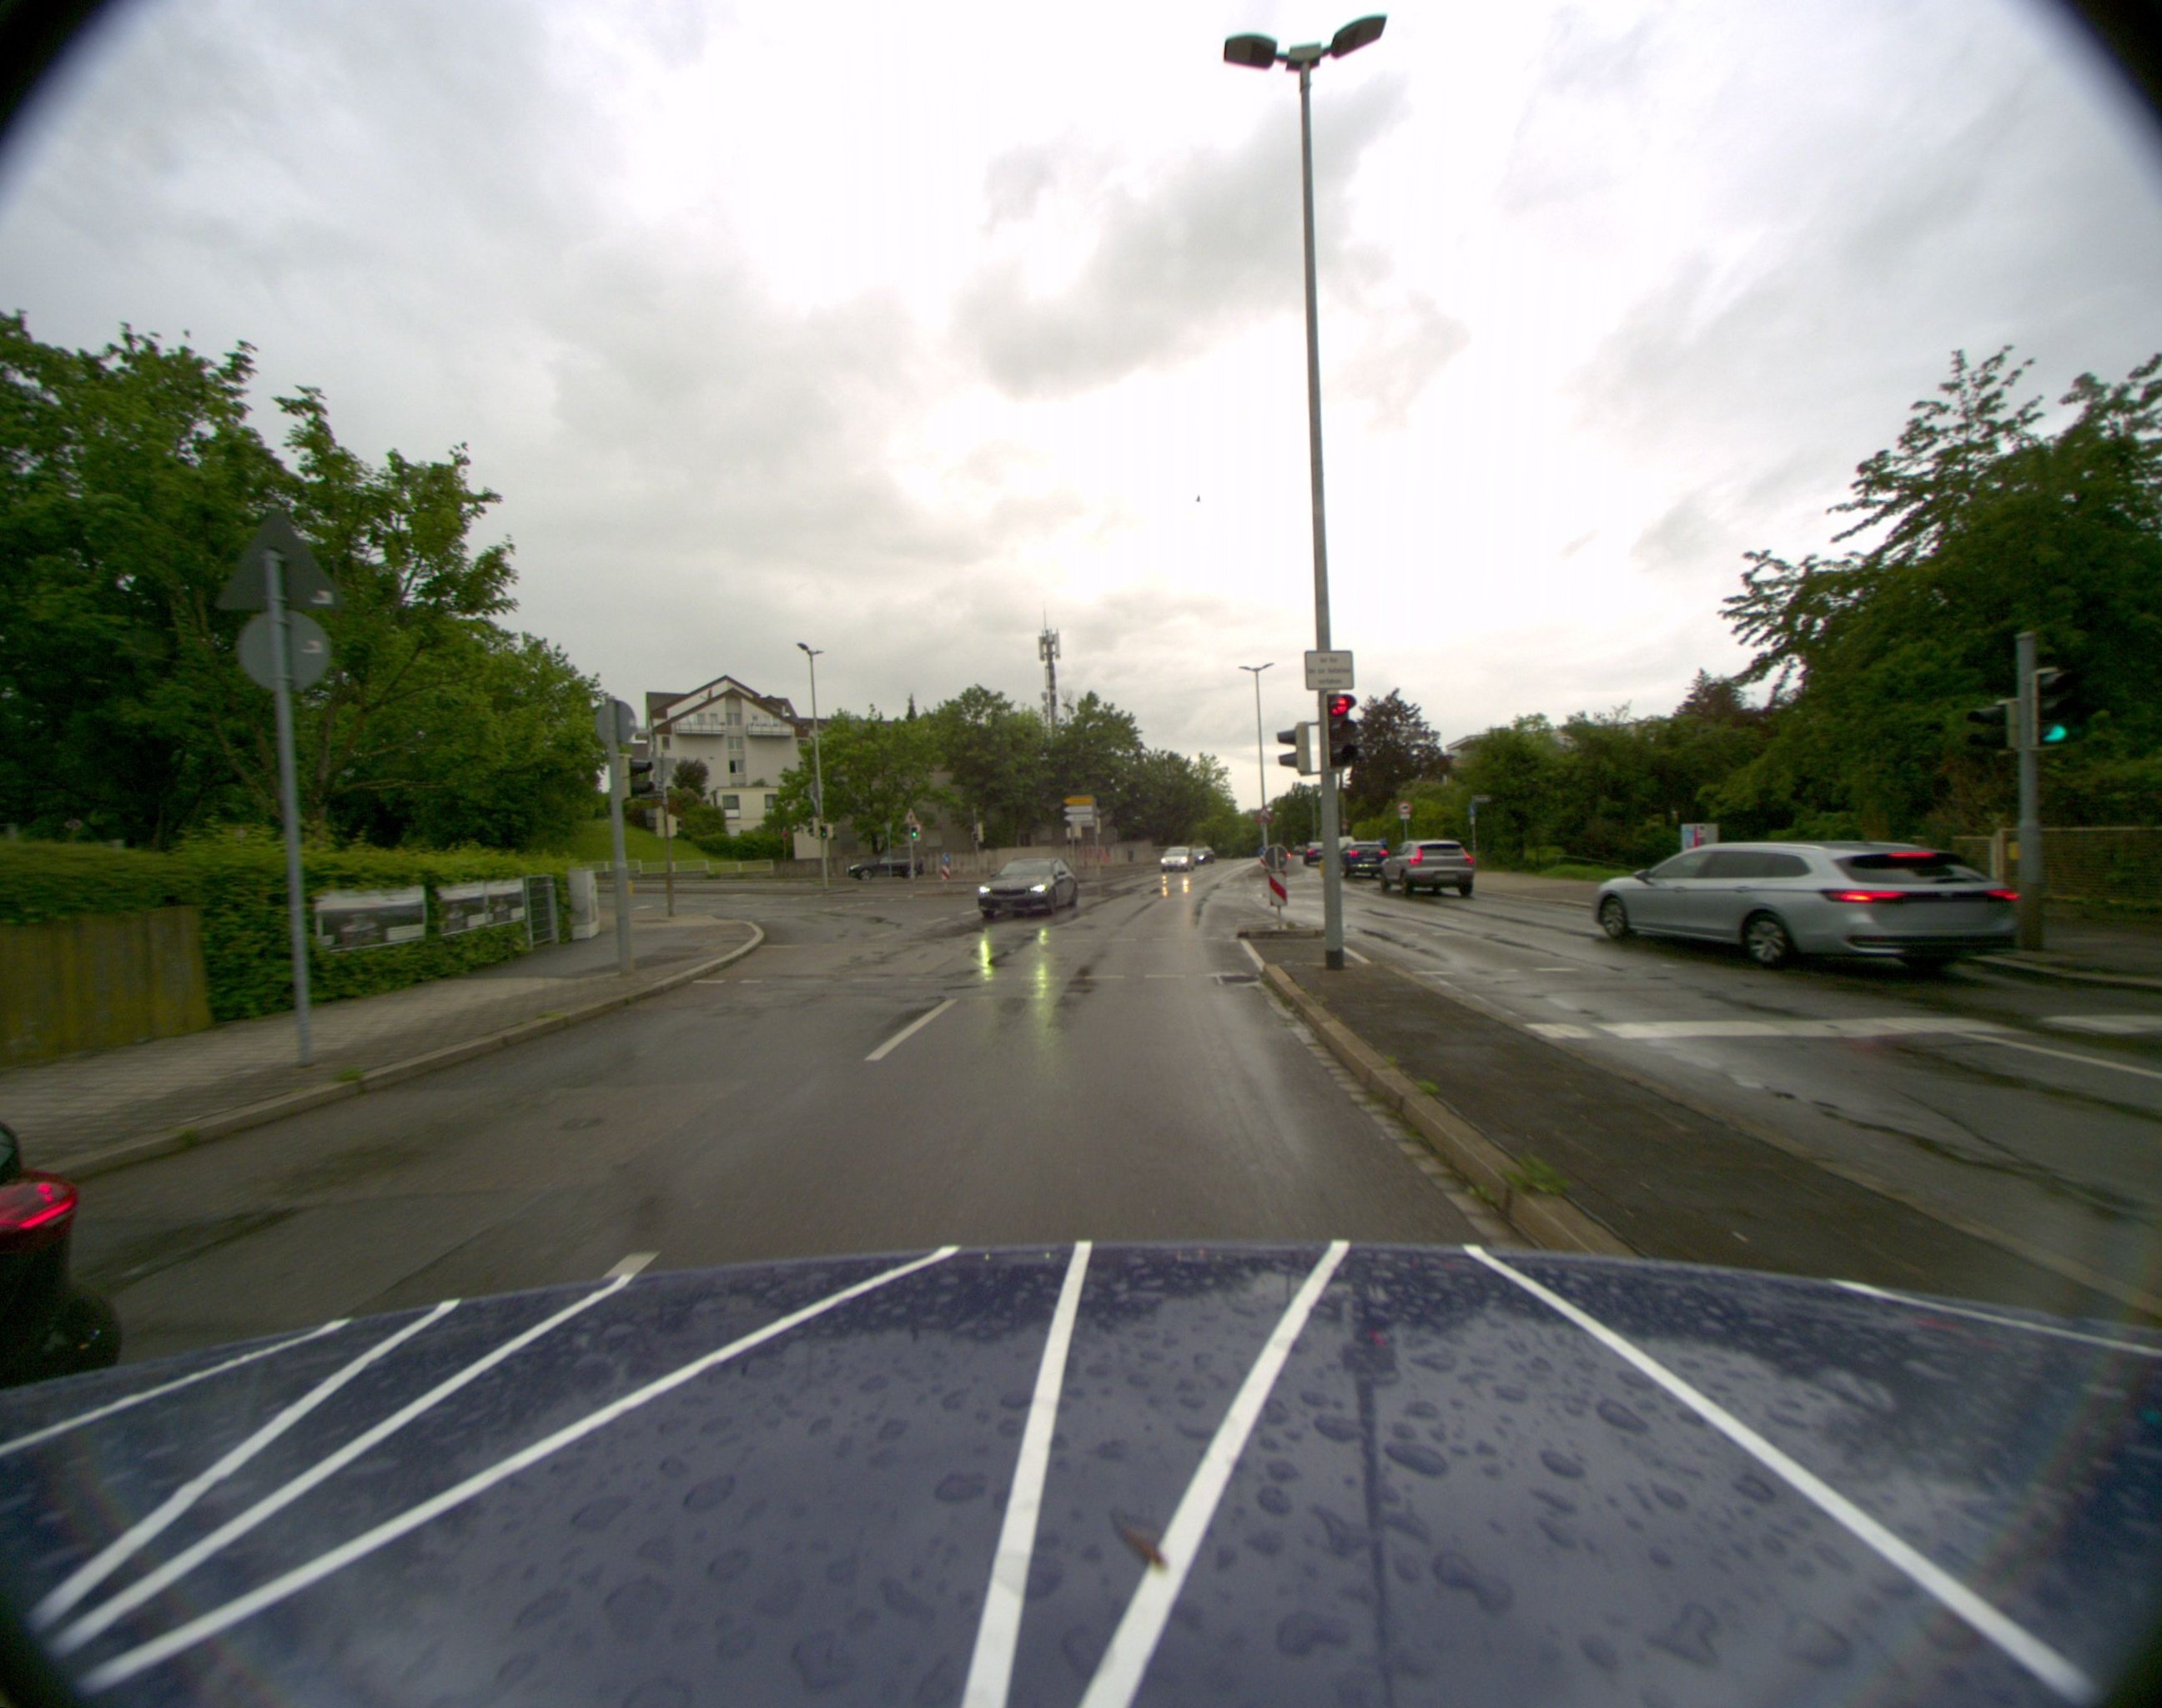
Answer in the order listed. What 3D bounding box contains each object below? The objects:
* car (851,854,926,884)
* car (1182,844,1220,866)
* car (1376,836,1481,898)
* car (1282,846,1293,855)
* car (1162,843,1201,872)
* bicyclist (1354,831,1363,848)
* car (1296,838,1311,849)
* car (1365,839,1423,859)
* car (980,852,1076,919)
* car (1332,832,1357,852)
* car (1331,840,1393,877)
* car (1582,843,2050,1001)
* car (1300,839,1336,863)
[{"bbox_3d":[-11.435,0.845,45.187,4.004,1.543,1.691,-3,2,-24],"label":"car"},{"bbox_3d":[10.378,0.057,65.489,1.995,1.647,4.232,-1,2,26],"label":"car"},{"bbox_3d":[10.609,0.324,23.543,1.886,1.668,4.233,-2,2,9],"label":"car"},{"bbox_3d":[35.889,-0.625,132.320,1.819,1.448,4.003,-2,2,14],"label":"car"},{"bbox_3d":[6.461,0.196,48.584,1.996,1.647,4.003,-2,2,14],"label":"car"},{"bbox_3d":[27.447,-1.431,75.125,0.742,1.637,0.778,-2,2,22],"label":"bicyclist"},{"bbox_3d":[30.314,-1.464,103.463,1.819,1.448,4.003,-2,2,14],"label":"car"},{"bbox_3d":[24.385,-0.397,59.313,3.884,1.448,1.769,-2,2,13],"label":"car"},{"bbox_3d":[-1.327,0.782,20.765,1.871,1.510,4.001,-2,2,6],"label":"car"},{"bbox_3d":[24.370,-1.140,70.469,1.819,1.707,4.003,-2,2,14],"label":"car"},{"bbox_3d":[12.597,0.144,34.310,1.868,1.545,4.449,0,2,11],"label":"car"},{"bbox_3d":[8.761,0.645,9.817,1.679,1.442,4.688,-2,2,3],"label":"car"},{"bbox_3d":[15.398,-0.218,49.465,1.867,1.468,4.449,0,2,13],"label":"car"}]
